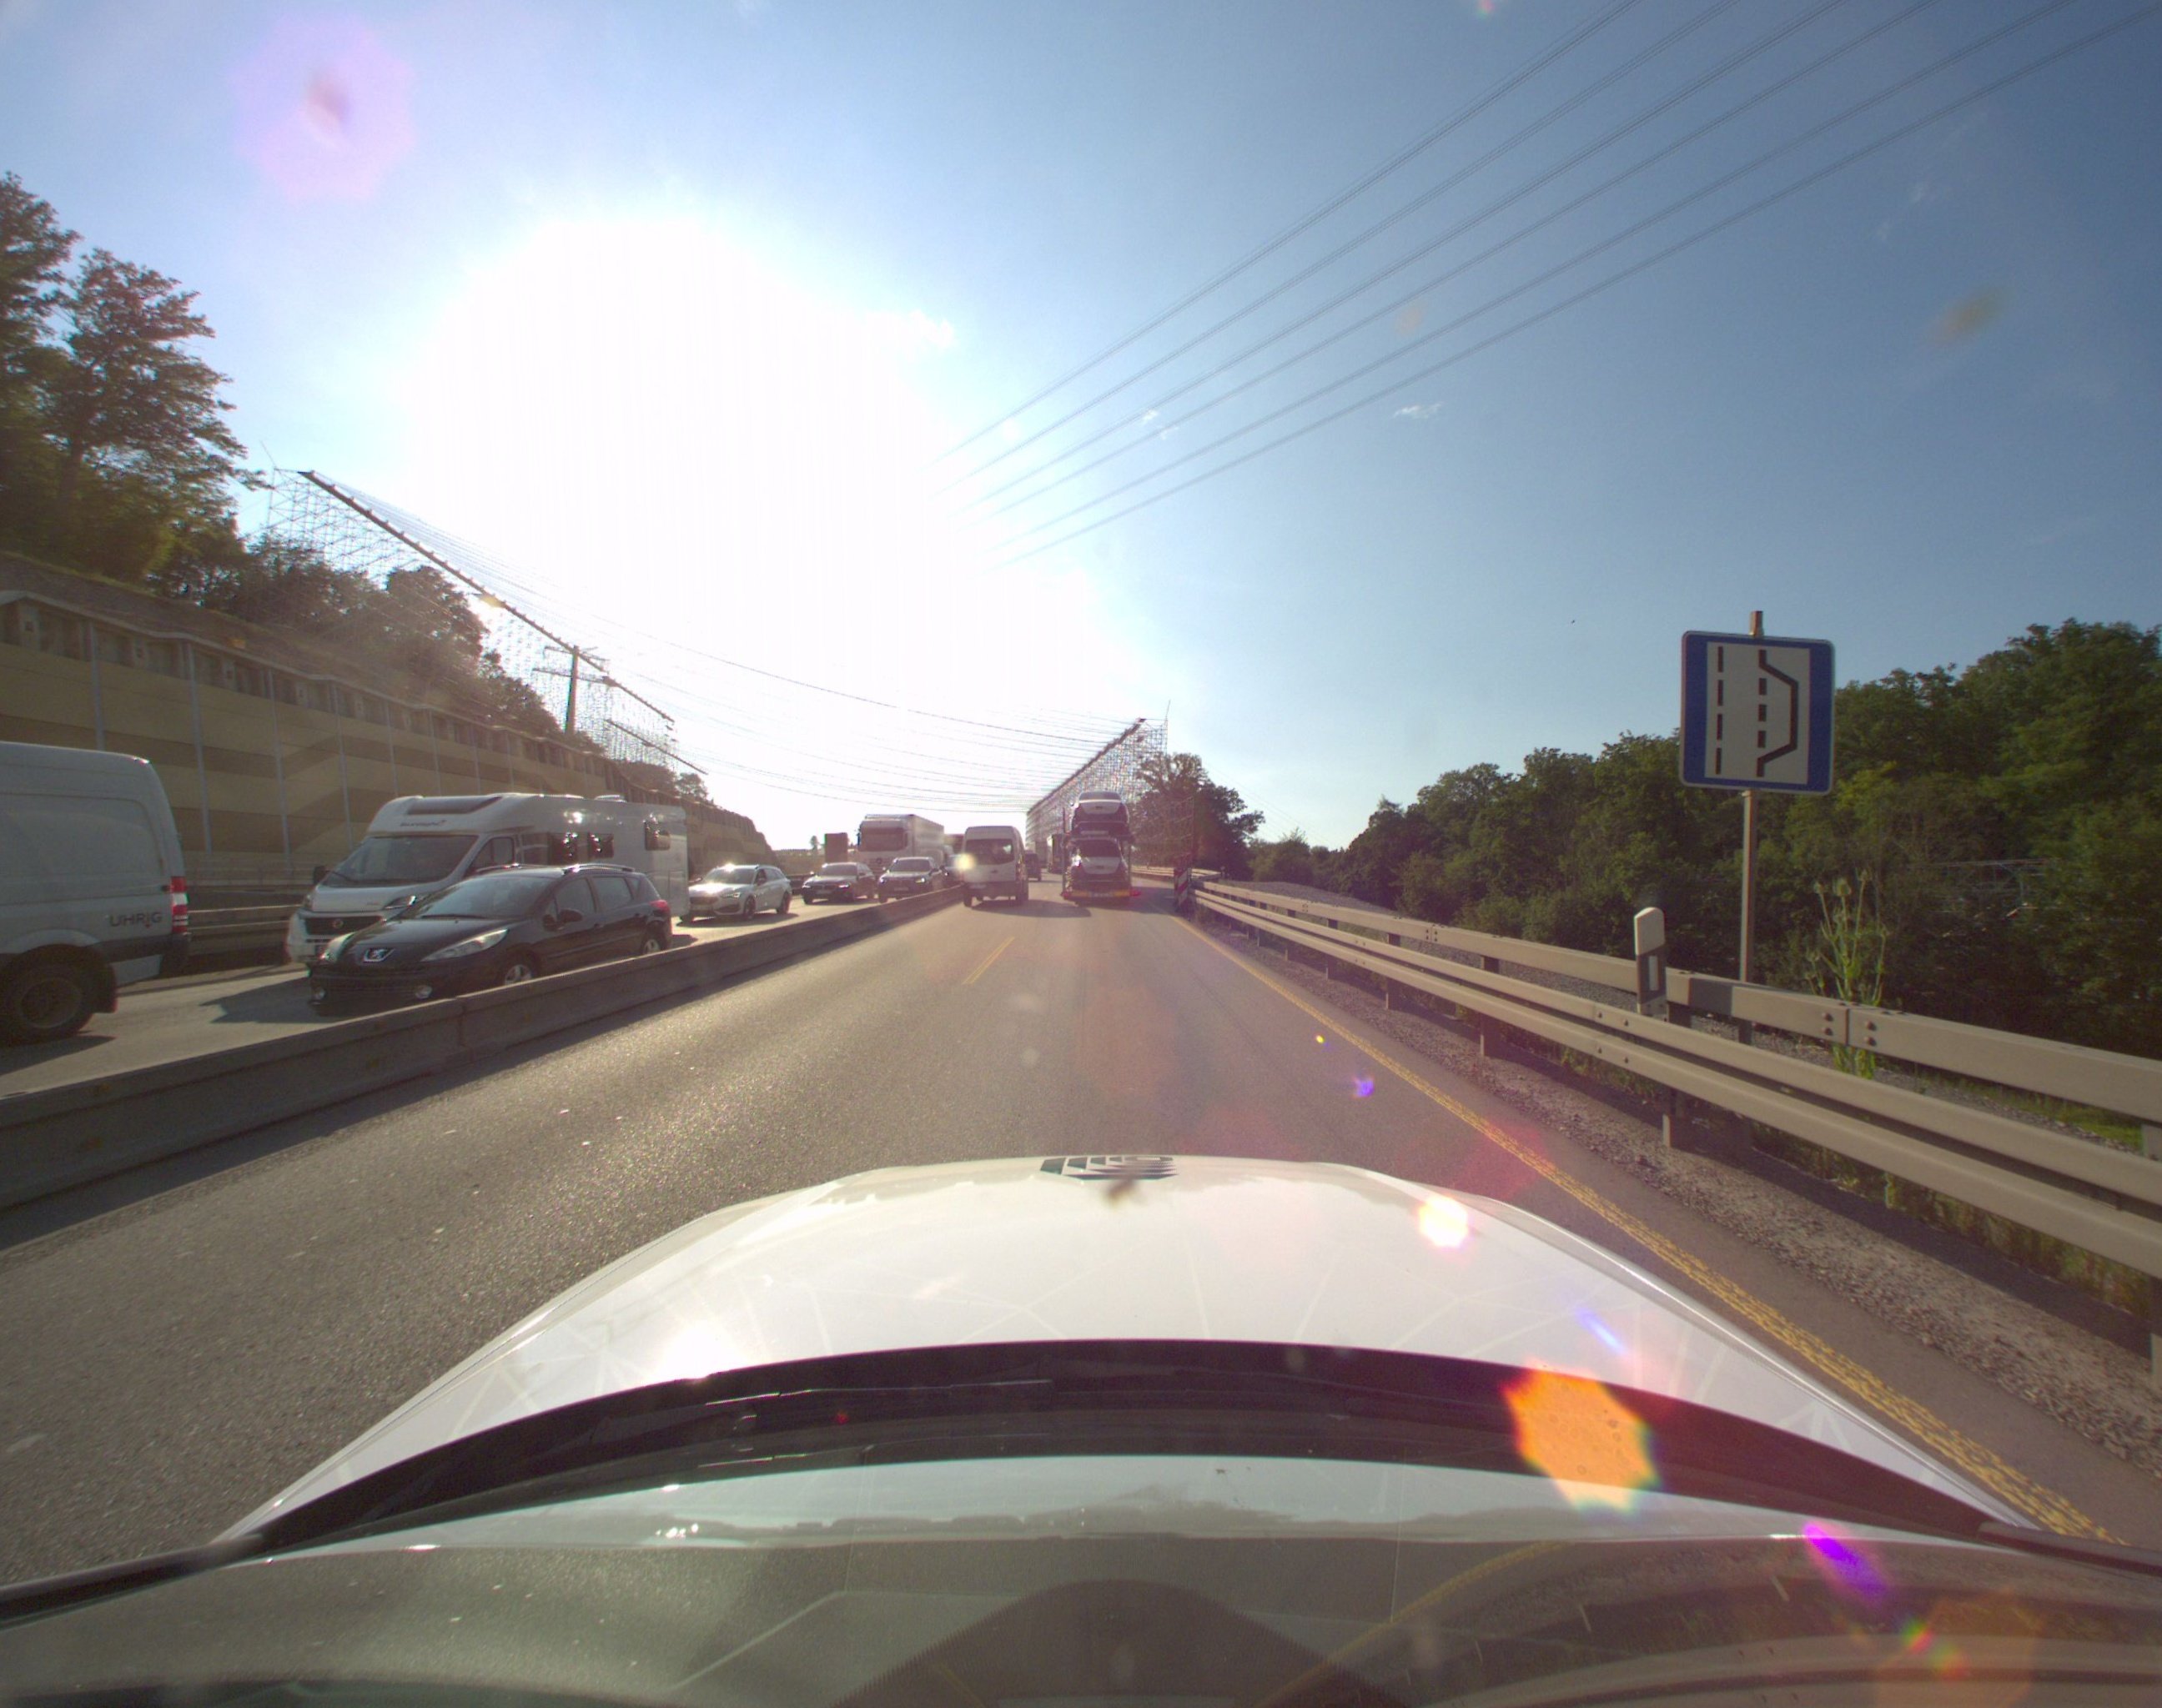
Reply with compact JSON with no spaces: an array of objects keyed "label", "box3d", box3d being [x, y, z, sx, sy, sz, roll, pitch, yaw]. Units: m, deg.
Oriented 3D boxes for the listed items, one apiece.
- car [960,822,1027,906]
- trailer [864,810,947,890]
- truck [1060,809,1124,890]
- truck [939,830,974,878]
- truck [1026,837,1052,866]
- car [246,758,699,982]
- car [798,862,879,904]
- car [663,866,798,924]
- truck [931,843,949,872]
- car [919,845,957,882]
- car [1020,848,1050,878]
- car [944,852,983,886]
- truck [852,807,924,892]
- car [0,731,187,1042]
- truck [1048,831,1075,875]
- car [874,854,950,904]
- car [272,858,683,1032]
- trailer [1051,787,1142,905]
[{"label":"car","box3d":[-2.899,0.344,27.750,1.952,2.621,3.996,-1,-1,-3]},{"label":"trailer","box3d":[-10.494,-0.144,50.253,2.714,4.218,13.733,-1,-1,-3]},{"label":"truck","box3d":[0.533,-0.171,40.872,2.872,3.702,7.325,-1,-1,1]},{"label":"truck","box3d":[-11.563,-0.003,76.111,2.740,4.300,5.924,-1,-1,-5]},{"label":"truck","box3d":[-6.834,-0.443,130.433,3.680,4.220,13.650,-3,0,-4]},{"label":"car","box3d":[-9.883,0.267,14.644,2.326,2.918,7.632,-2,-1,0]},{"label":"car","box3d":[-9.215,1.072,31.379,1.738,1.460,4.711,-1,-1,-1]},{"label":"car","box3d":[-9.461,1.033,22.434,1.743,1.422,4.608,0,-1,0]},{"label":"truck","box3d":[-21.805,0.561,125.912,2.663,4.230,6.081,-1,0,-11]},{"label":"car","box3d":[-11.066,0.674,63.360,2.017,2.690,6.943,0,0,-2]},{"label":"car","box3d":[-3.315,0.638,57.755,1.991,2.014,3.992,0,-1,-5]},{"label":"car","box3d":[-6.802,0.806,47.638,1.801,1.772,5.446,-1,1,-3]},{"label":"truck","box3d":[-10.174,-0.216,43.409,2.706,4.218,5.676,-1,-1,-3]},{"label":"car","box3d":[-10.078,0.273,5.399,1.950,2.621,5.747,-2,-1,0]},{"label":"truck","box3d":[-2.068,-0.107,86.915,2.724,4.386,11.514,0,0,-1]},{"label":"car","box3d":[-6.307,0.879,30.945,1.811,1.579,4.754,-3,1,0]},{"label":"car","box3d":[-6.535,0.845,9.506,1.776,1.521,4.000,1,1,0]},{"label":"trailer","box3d":[0.512,-0.180,33.509,2.859,3.725,14.944,-1,-1,0]}]
